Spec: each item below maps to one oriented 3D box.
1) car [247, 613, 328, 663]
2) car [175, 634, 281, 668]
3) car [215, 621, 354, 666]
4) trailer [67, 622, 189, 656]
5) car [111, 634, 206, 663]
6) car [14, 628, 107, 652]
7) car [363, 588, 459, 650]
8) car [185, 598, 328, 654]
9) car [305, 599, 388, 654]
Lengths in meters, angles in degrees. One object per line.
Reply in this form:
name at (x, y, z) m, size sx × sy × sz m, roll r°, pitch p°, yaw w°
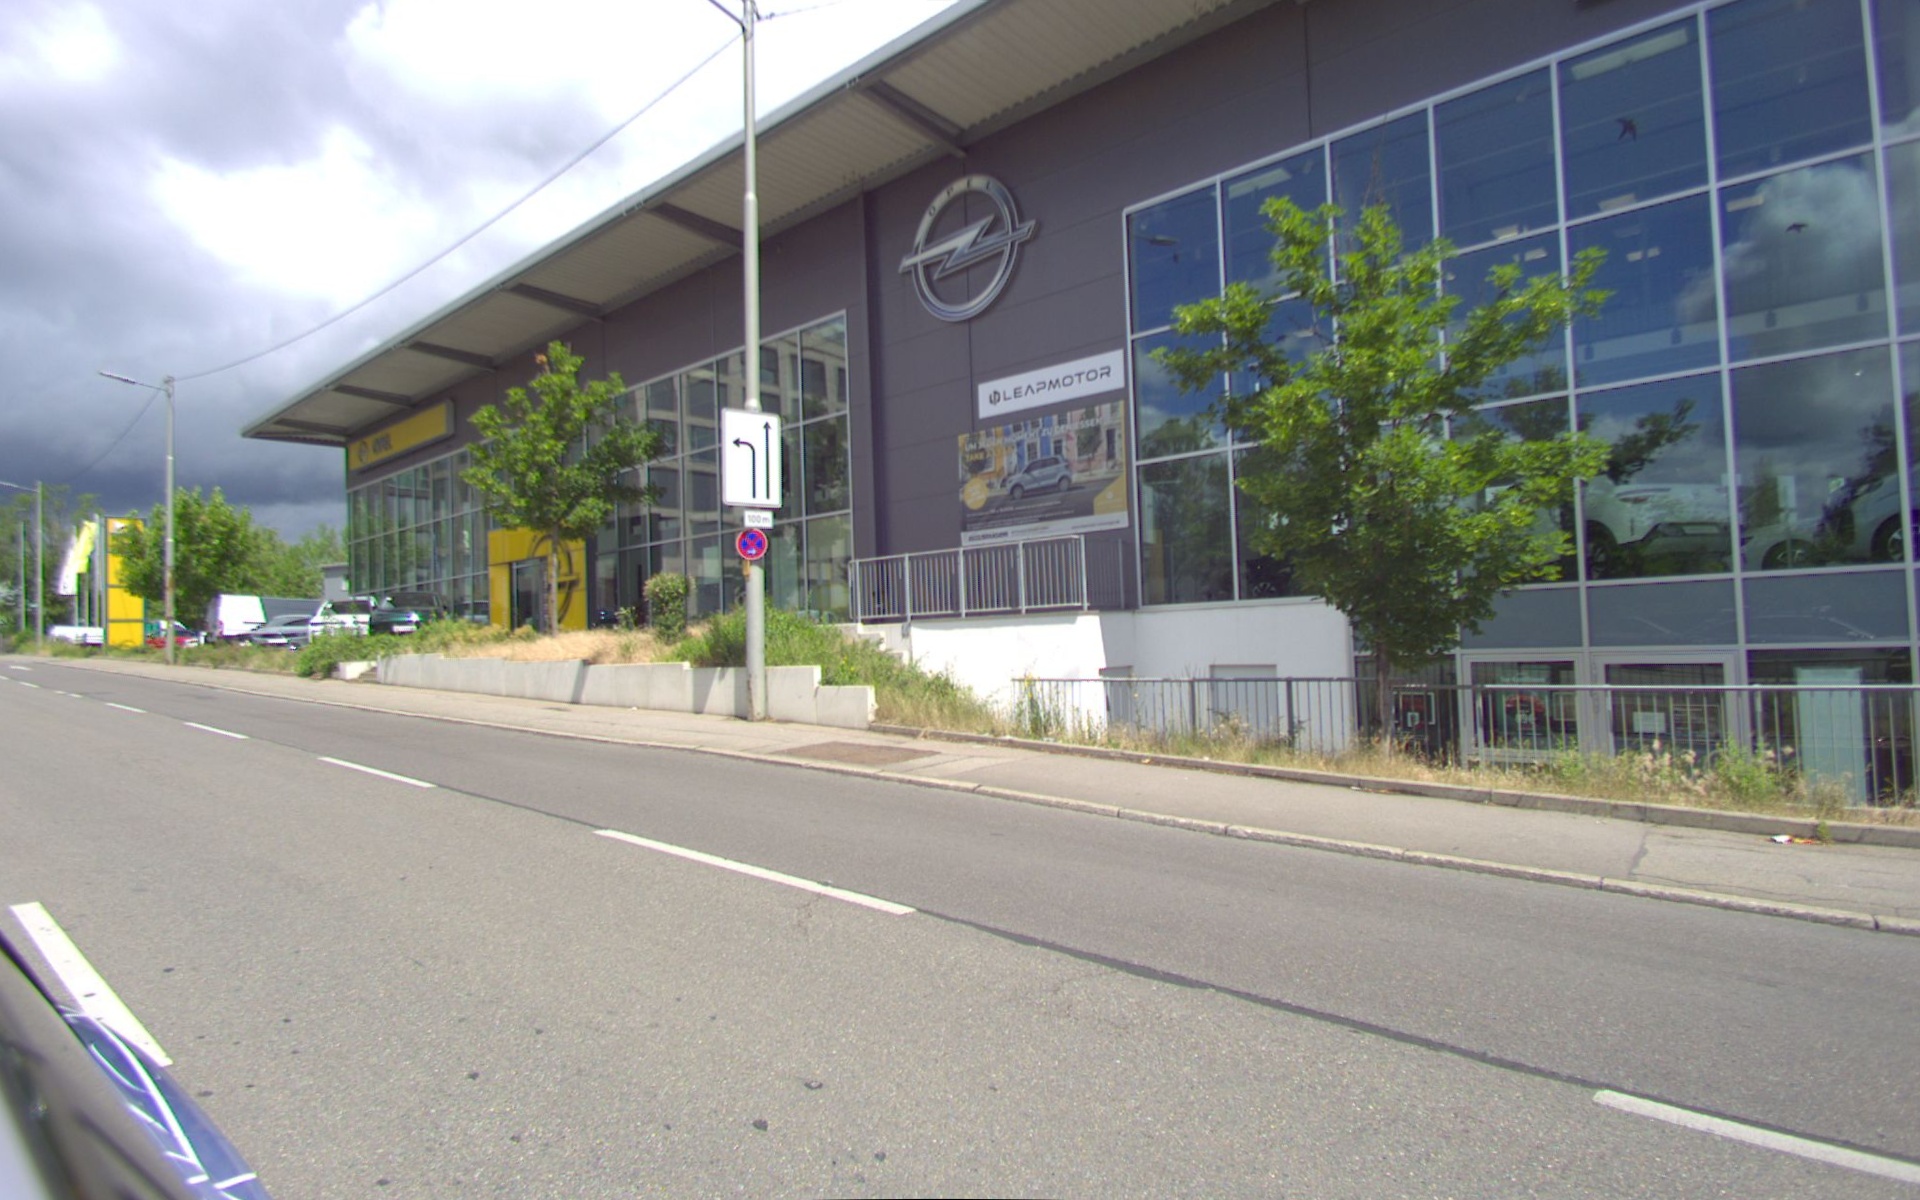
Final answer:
car at (-23.341, 1.299, 35.238) m, size 1.767 × 1.625 × 4.122 m, roll 1°, pitch -2°, yaw -26°
car at (-35.530, 2.451, 49.167) m, size 1.559 × 1.539 × 3.897 m, roll -2°, pitch -2°, yaw 38°
car at (-25.736, 1.645, 38.678) m, size 1.792 × 1.625 × 4.064 m, roll -2°, pitch -2°, yaw 32°
trailer at (-45.328, 2.099, 55.230) m, size 2.092 × 1.765 × 4.776 m, roll -2°, pitch -2°, yaw 37°
car at (-42.023, 2.531, 53.103) m, size 1.814 × 1.420 × 3.621 m, roll -2°, pitch -2°, yaw 42°
car at (-57.691, 2.546, 64.950) m, size 2.093 × 1.493 × 4.200 m, roll -2°, pitch -2°, yaw 38°
car at (-15.497, 0.580, 28.758) m, size 1.790 × 1.625 × 4.122 m, roll 2°, pitch -2°, yaw -20°
car at (-29.183, 1.066, 42.075) m, size 2.177 × 2.211 × 4.475 m, roll -1°, pitch -1°, yaw 39°
car at (-19.245, 0.824, 31.890) m, size 1.767 × 1.625 × 4.122 m, roll 0°, pitch -1°, yaw -25°
